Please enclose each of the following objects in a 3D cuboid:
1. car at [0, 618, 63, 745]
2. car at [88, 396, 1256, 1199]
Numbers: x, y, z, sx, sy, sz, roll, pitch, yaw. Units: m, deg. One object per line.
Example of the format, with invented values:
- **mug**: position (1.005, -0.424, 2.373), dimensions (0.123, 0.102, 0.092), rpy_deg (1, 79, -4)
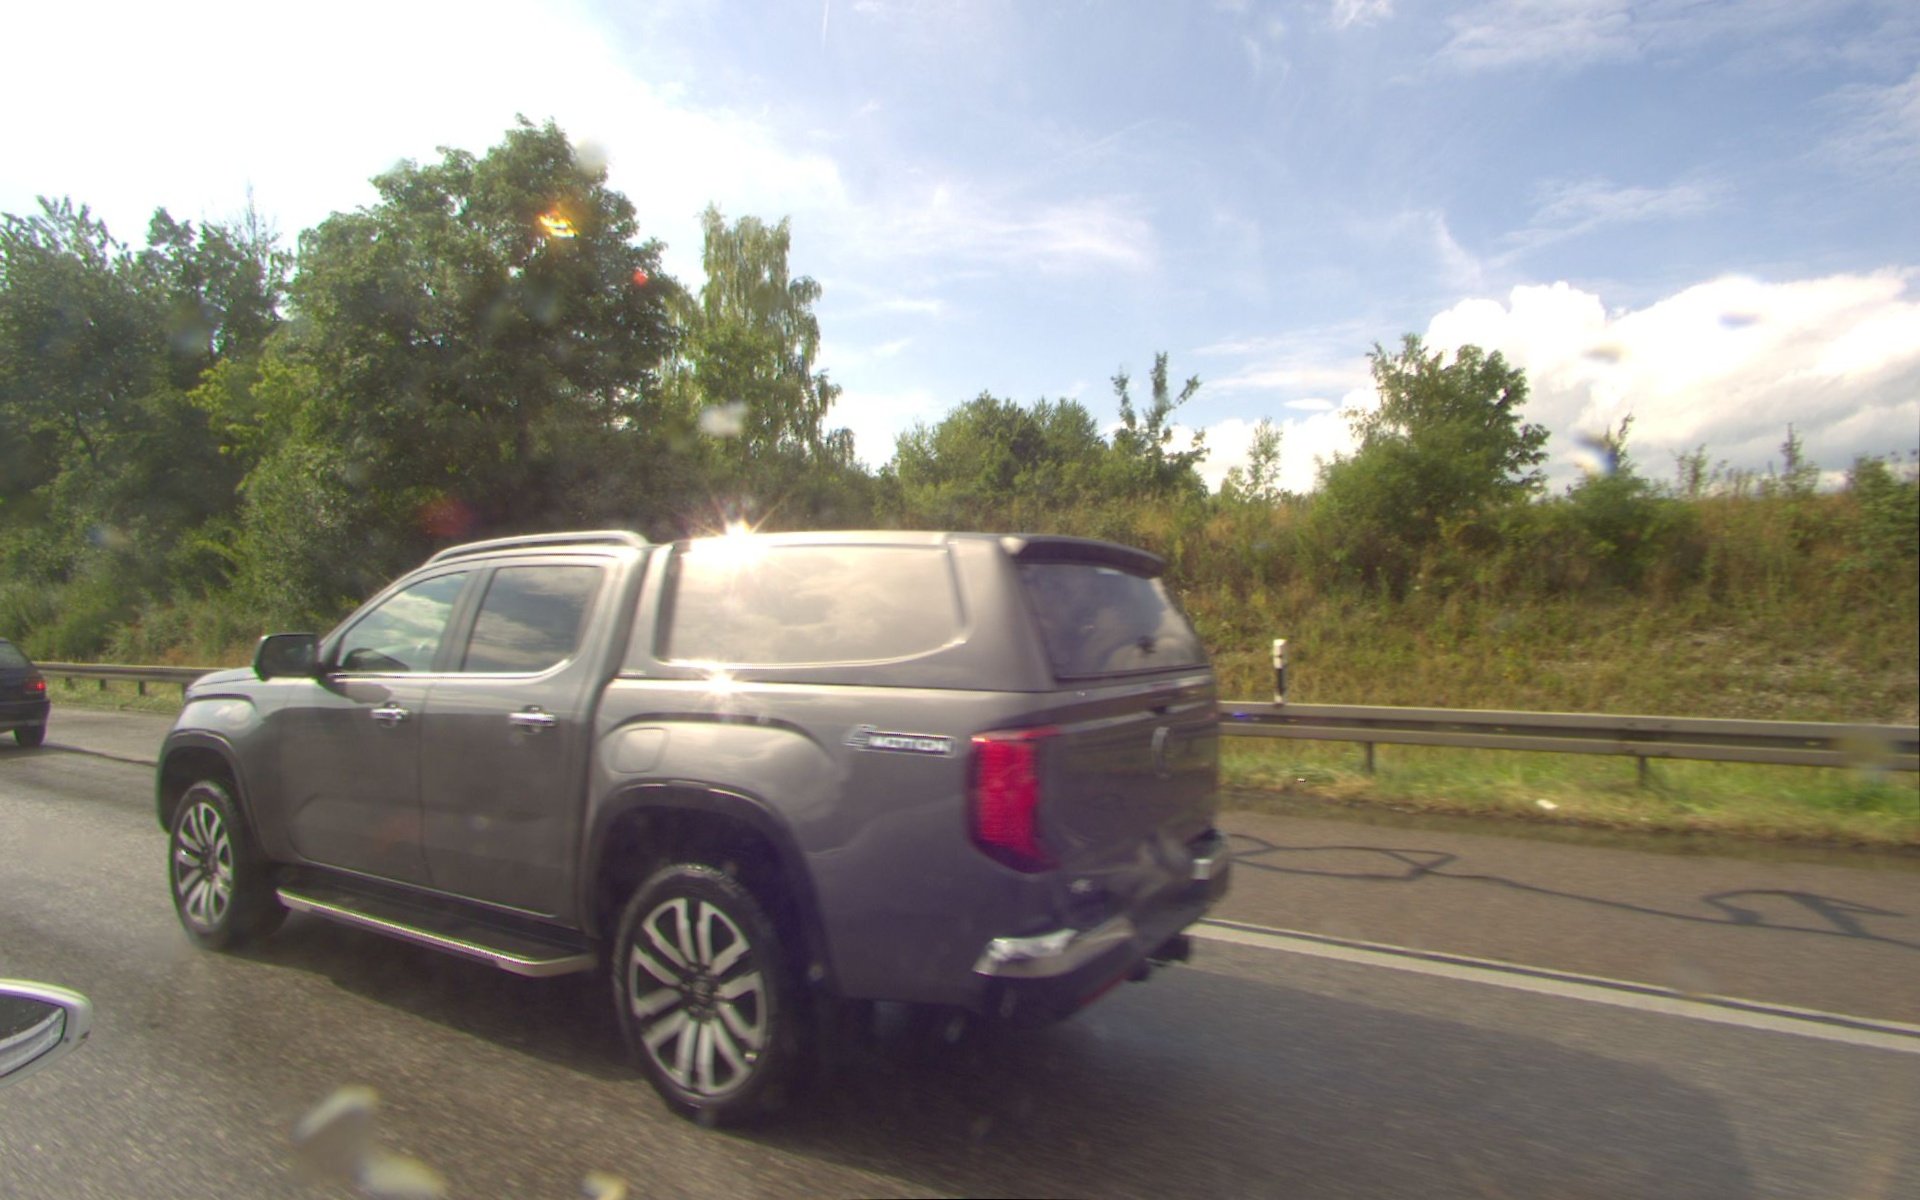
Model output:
- **car**: position (-13.349, 1.017, 12.896), dimensions (3.918, 1.535, 1.589), rpy_deg (-1, -2, 31)
- **car**: position (-1.691, 0.577, 4.622), dimensions (5.570, 1.943, 1.939), rpy_deg (-1, -2, 31)
